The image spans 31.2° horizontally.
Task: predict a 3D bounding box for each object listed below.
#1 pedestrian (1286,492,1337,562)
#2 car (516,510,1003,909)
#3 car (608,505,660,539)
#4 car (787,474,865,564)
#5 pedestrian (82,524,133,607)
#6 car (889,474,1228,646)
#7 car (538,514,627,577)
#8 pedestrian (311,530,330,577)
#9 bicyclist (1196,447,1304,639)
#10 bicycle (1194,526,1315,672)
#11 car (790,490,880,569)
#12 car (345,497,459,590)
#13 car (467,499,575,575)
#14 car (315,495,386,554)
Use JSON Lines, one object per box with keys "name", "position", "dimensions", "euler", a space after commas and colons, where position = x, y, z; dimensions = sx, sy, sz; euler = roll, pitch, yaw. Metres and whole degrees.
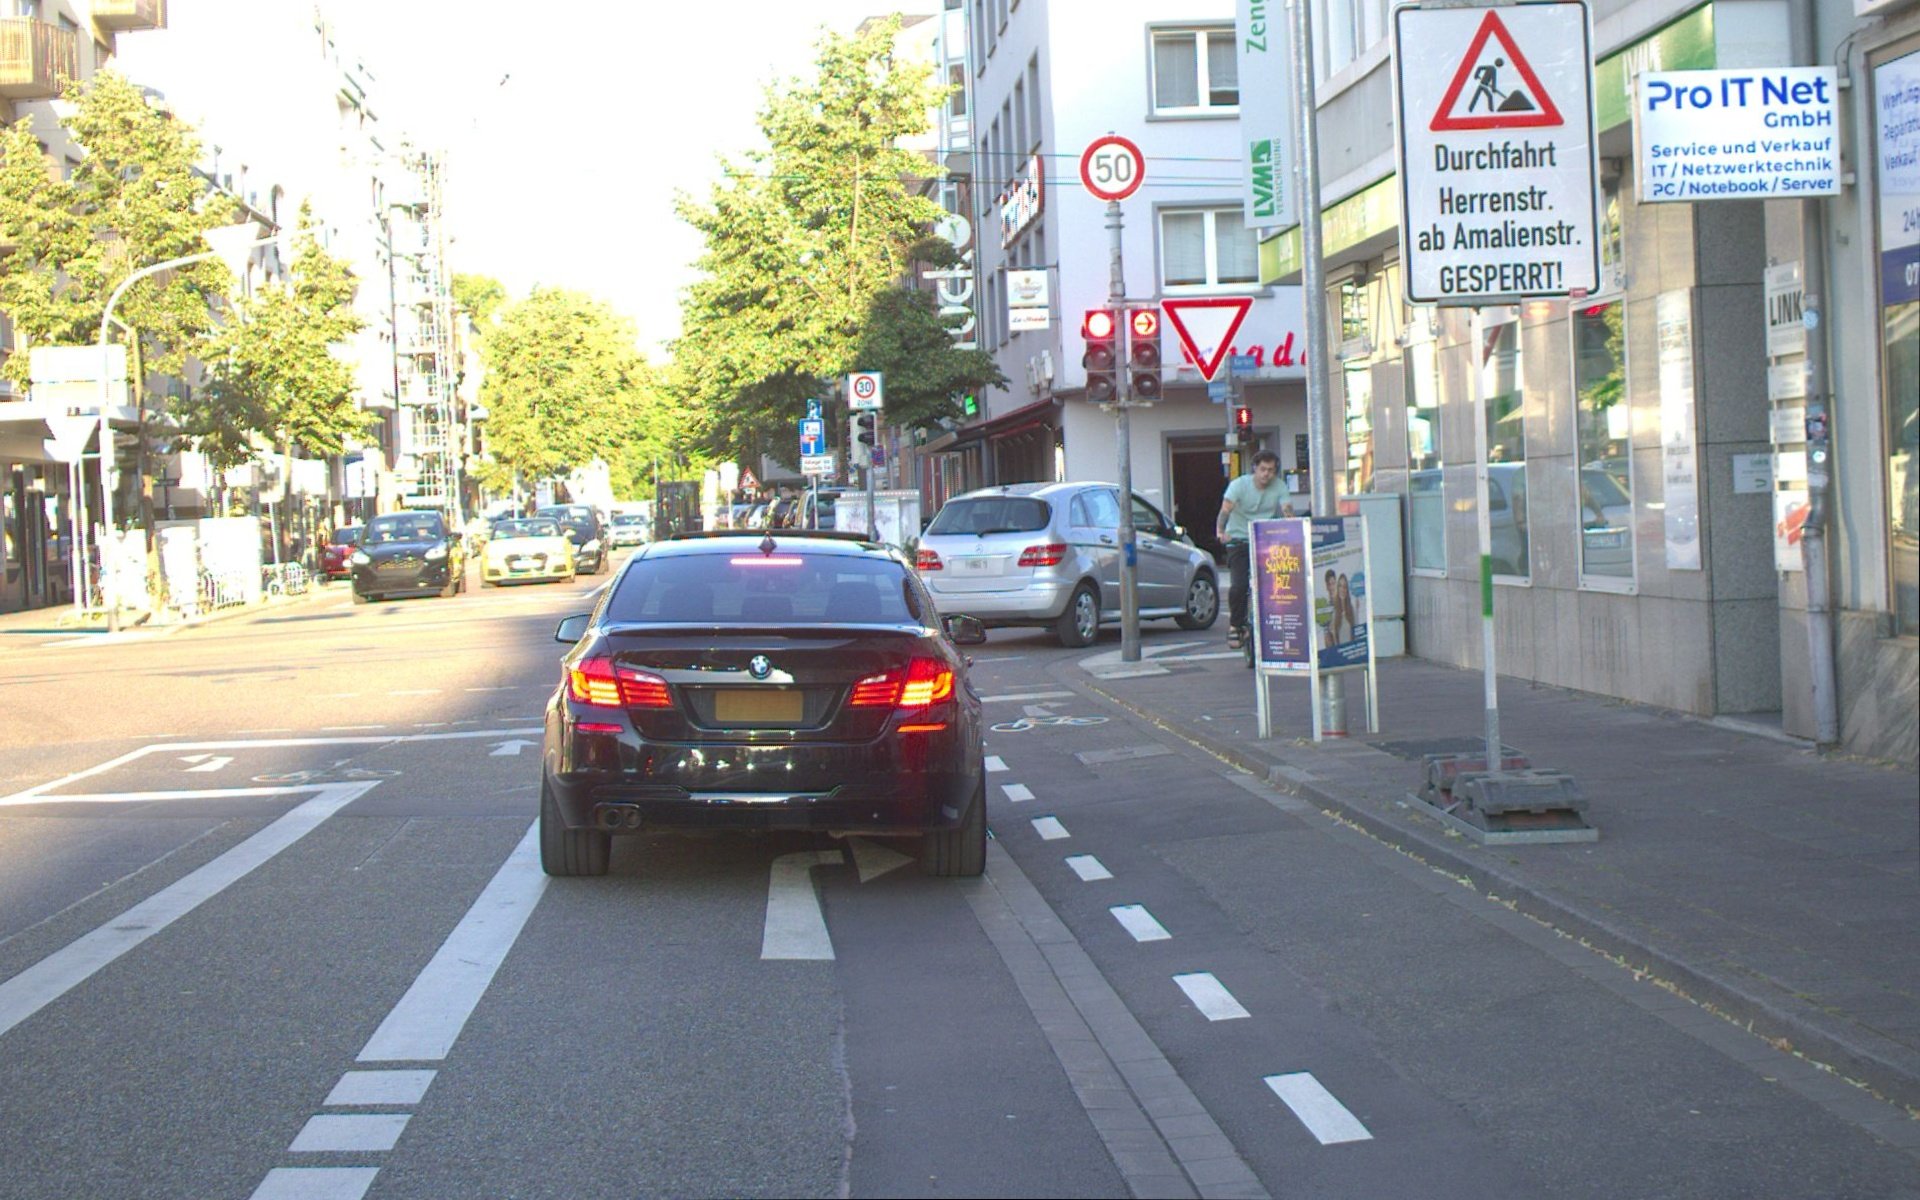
{"name": "pedestrian", "position": [6.028, -1.257, 58.994], "dimensions": [0.697, 1.153, 0.844], "euler": [-2, 2, -5]}
{"name": "car", "position": [-0.960, 0.381, 15.779], "dimensions": [1.903, 1.535, 4.451], "euler": [1, 2, -5]}
{"name": "car", "position": [-12.895, -3.092, 135.890], "dimensions": [1.733, 1.288, 4.001], "euler": [-2, 2, -9]}
{"name": "car", "position": [-2.886, -1.724, 73.451], "dimensions": [1.421, 1.848, 3.053], "euler": [-1, 1, -6]}
{"name": "pedestrian", "position": [-17.727, -0.723, 71.525], "dimensions": [0.823, 1.670, 0.872], "euler": [-2, 2, -4]}
{"name": "car", "position": [1.074, -0.440, 34.925], "dimensions": [1.835, 1.570, 4.095], "euler": [-1, 2, 27]}
{"name": "car", "position": [-8.457, -1.239, 76.756], "dimensions": [1.733, 1.288, 4.001], "euler": [-2, 2, -9]}
{"name": "pedestrian", "position": [-19.742, -1.439, 106.101], "dimensions": [0.444, 1.411, 0.525], "euler": [-3, 1, -5]}
{"name": "bicyclist", "position": [2.340, -0.469, 27.797], "dimensions": [0.722, 1.502, 0.900], "euler": [-2, 2, -2]}
{"name": "bicycle", "position": [2.369, -0.026, 27.806], "dimensions": [0.690, 1.103, 1.896], "euler": [-2, 2, -3]}
{"name": "car", "position": [-2.454, -1.380, 67.066], "dimensions": [1.625, 1.466, 3.396], "euler": [-1, 1, -4]}
{"name": "car", "position": [-10.451, -1.077, 64.437], "dimensions": [1.993, 1.612, 4.001], "euler": [-2, 2, -9]}
{"name": "car", "position": [-8.962, -1.304, 69.957], "dimensions": [1.993, 1.437, 4.001], "euler": [-2, 2, -9]}
{"name": "car", "position": [-16.127, -2.007, 91.099], "dimensions": [1.733, 1.456, 4.001], "euler": [-2, 2, -9]}
